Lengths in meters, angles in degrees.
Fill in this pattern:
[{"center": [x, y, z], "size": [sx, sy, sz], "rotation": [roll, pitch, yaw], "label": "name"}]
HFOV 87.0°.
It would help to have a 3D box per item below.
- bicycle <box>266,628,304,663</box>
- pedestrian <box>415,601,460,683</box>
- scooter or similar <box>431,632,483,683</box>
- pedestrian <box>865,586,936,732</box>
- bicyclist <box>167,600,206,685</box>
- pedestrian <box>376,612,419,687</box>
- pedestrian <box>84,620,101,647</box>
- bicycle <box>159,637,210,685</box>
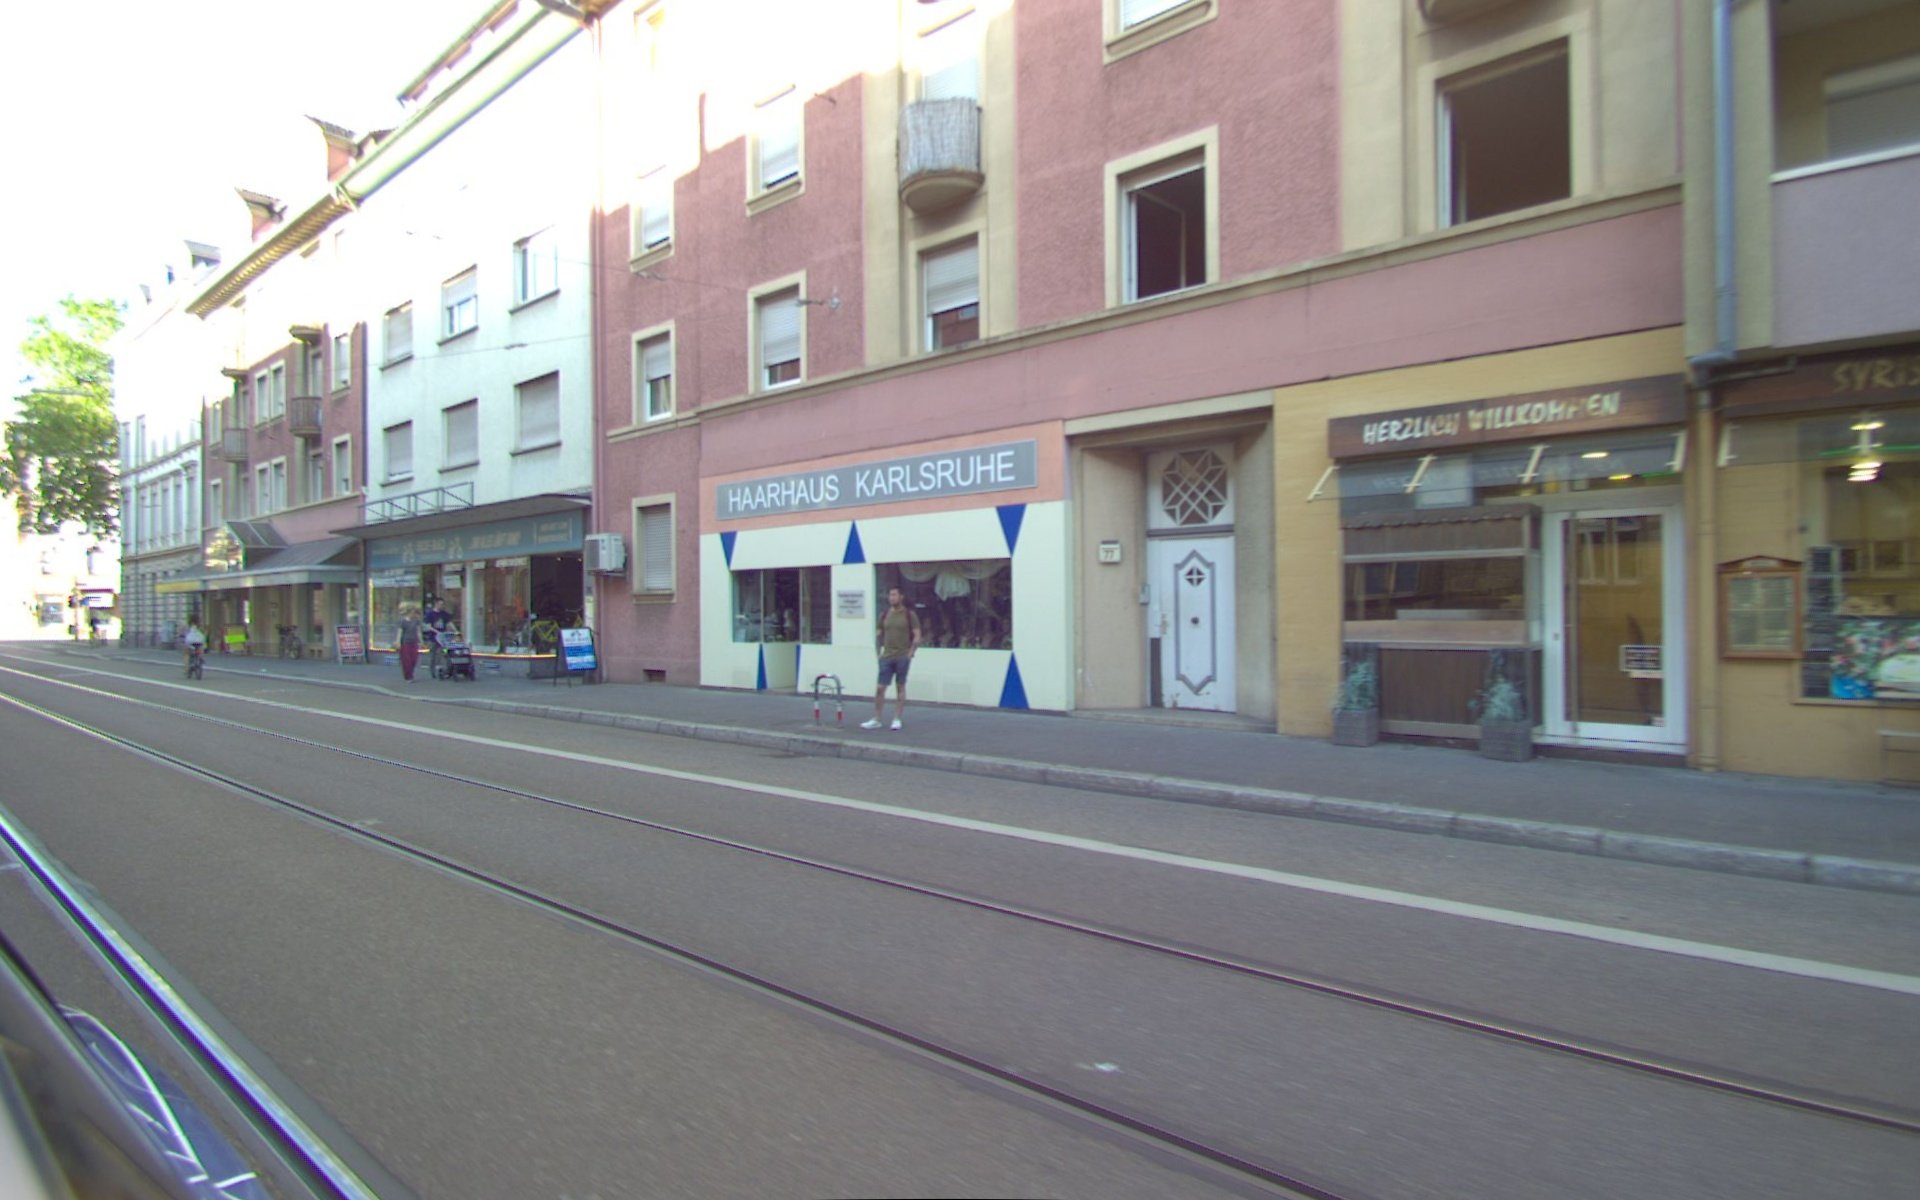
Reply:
[{"center": [-21.826, 1.454, 32.696], "size": [2.328, 1.067, 0.420], "rotation": [-1, 0, 41], "label": "bicycle"}, {"center": [-11.832, 0.934, 22.915], "size": [0.820, 1.803, 0.619], "rotation": [-1, 0, 41], "label": "pedestrian"}, {"center": [-11.075, 1.253, 22.281], "size": [1.104, 1.069, 0.655], "rotation": [-2, -1, 42], "label": "scooter or similar"}, {"center": [-0.719, 0.688, 12.240], "size": [0.616, 1.698, 0.557], "rotation": [-1, 0, 40], "label": "pedestrian"}, {"center": [-19.006, 1.025, 24.863], "size": [0.733, 2.029, 0.605], "rotation": [-1, 0, 41], "label": "bicyclist"}, {"center": [-12.081, 1.046, 21.734], "size": [0.623, 1.560, 0.629], "rotation": [-1, 0, 41], "label": "pedestrian"}, {"center": [-61.723, 2.397, 72.000], "size": [0.809, 1.861, 0.784], "rotation": [-1, 0, 44], "label": "pedestrian"}, {"center": [-19.159, 1.479, 24.988], "size": [2.043, 1.104, 0.595], "rotation": [-1, -3, 42], "label": "bicycle"}]
